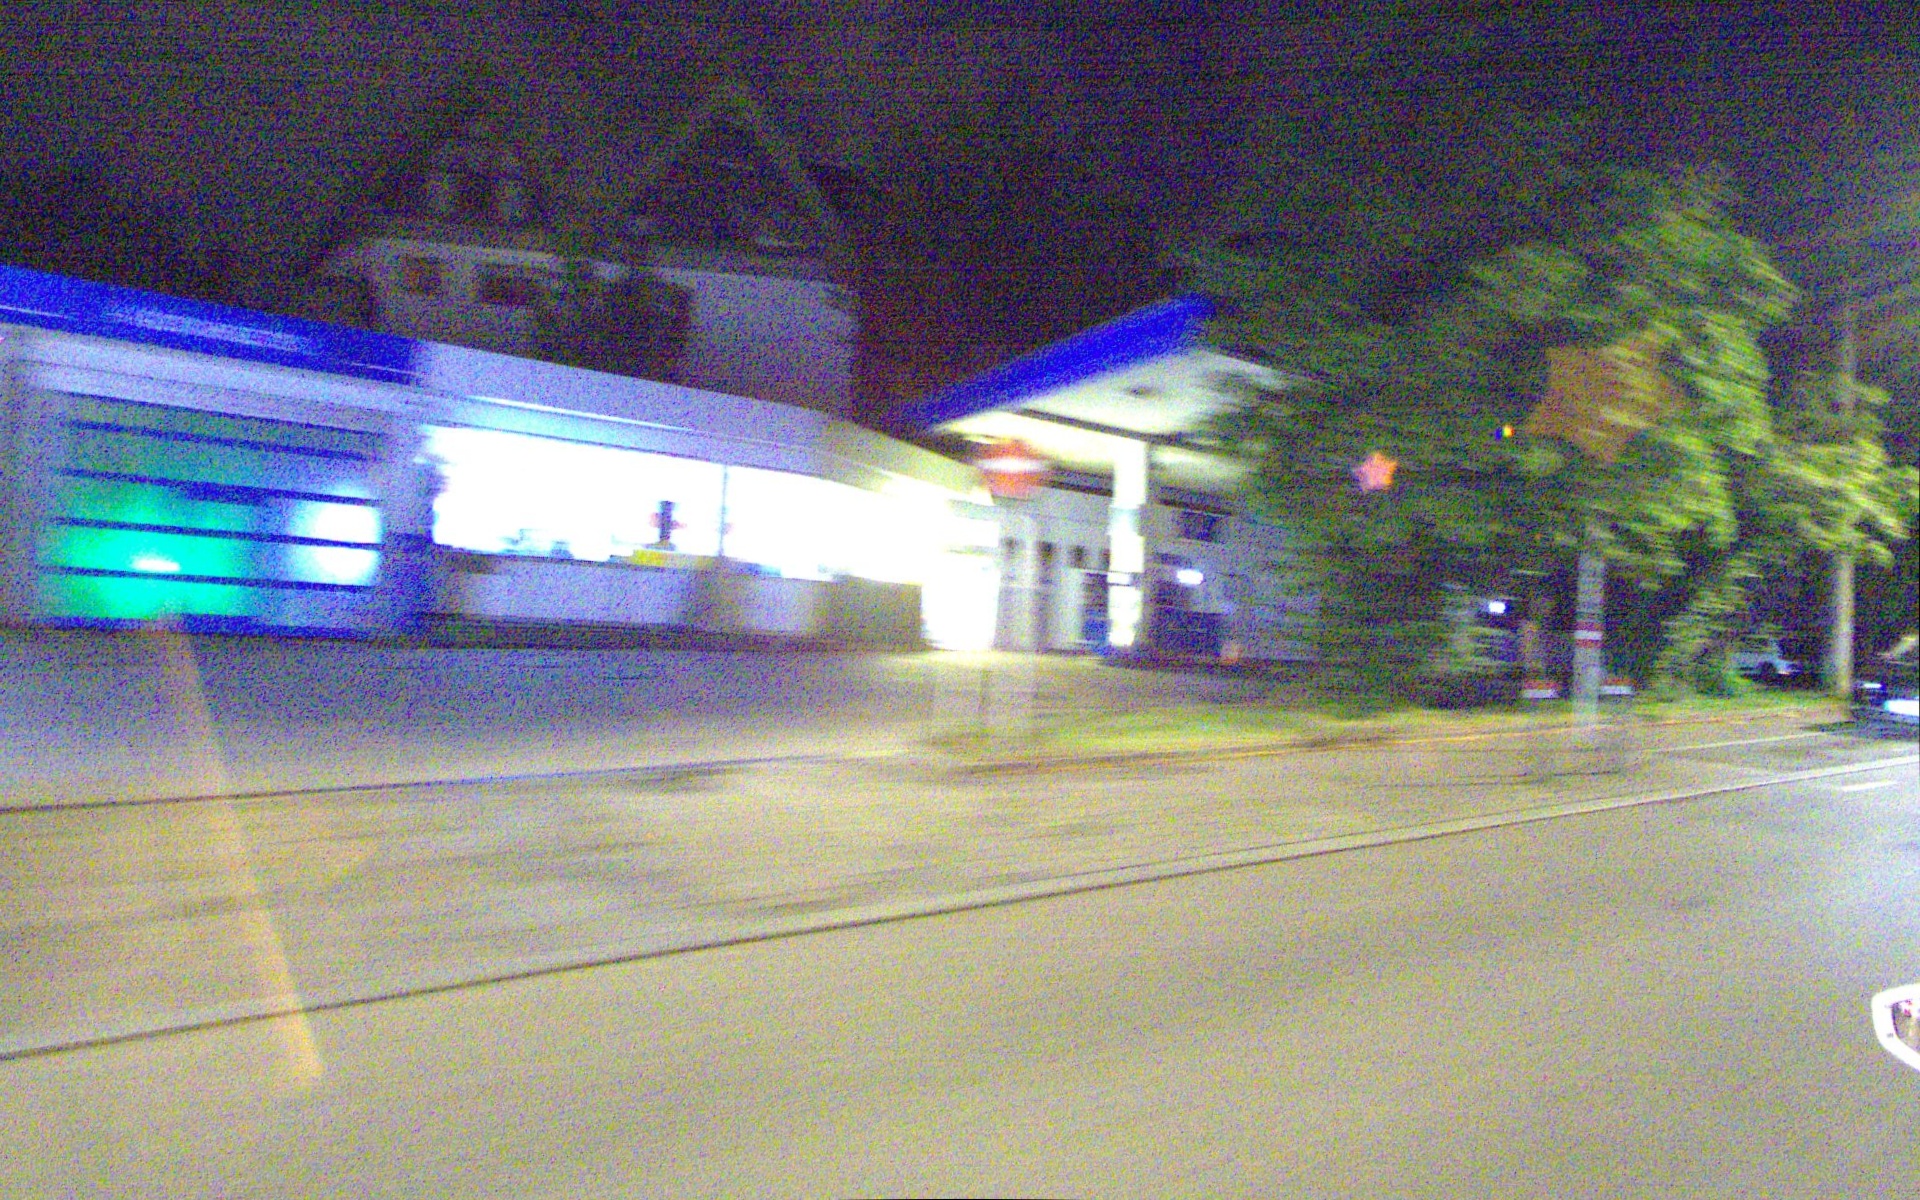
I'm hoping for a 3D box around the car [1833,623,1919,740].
[{"bbox_3d":[13.950,1.104,13.845,4.143,1.457,1.712,2,0,-31],"label":"car"}]

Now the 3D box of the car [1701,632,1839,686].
[{"bbox_3d":[25.431,1.828,31.674,1.758,1.472,3.268,2,-1,3],"label":"car"}]
